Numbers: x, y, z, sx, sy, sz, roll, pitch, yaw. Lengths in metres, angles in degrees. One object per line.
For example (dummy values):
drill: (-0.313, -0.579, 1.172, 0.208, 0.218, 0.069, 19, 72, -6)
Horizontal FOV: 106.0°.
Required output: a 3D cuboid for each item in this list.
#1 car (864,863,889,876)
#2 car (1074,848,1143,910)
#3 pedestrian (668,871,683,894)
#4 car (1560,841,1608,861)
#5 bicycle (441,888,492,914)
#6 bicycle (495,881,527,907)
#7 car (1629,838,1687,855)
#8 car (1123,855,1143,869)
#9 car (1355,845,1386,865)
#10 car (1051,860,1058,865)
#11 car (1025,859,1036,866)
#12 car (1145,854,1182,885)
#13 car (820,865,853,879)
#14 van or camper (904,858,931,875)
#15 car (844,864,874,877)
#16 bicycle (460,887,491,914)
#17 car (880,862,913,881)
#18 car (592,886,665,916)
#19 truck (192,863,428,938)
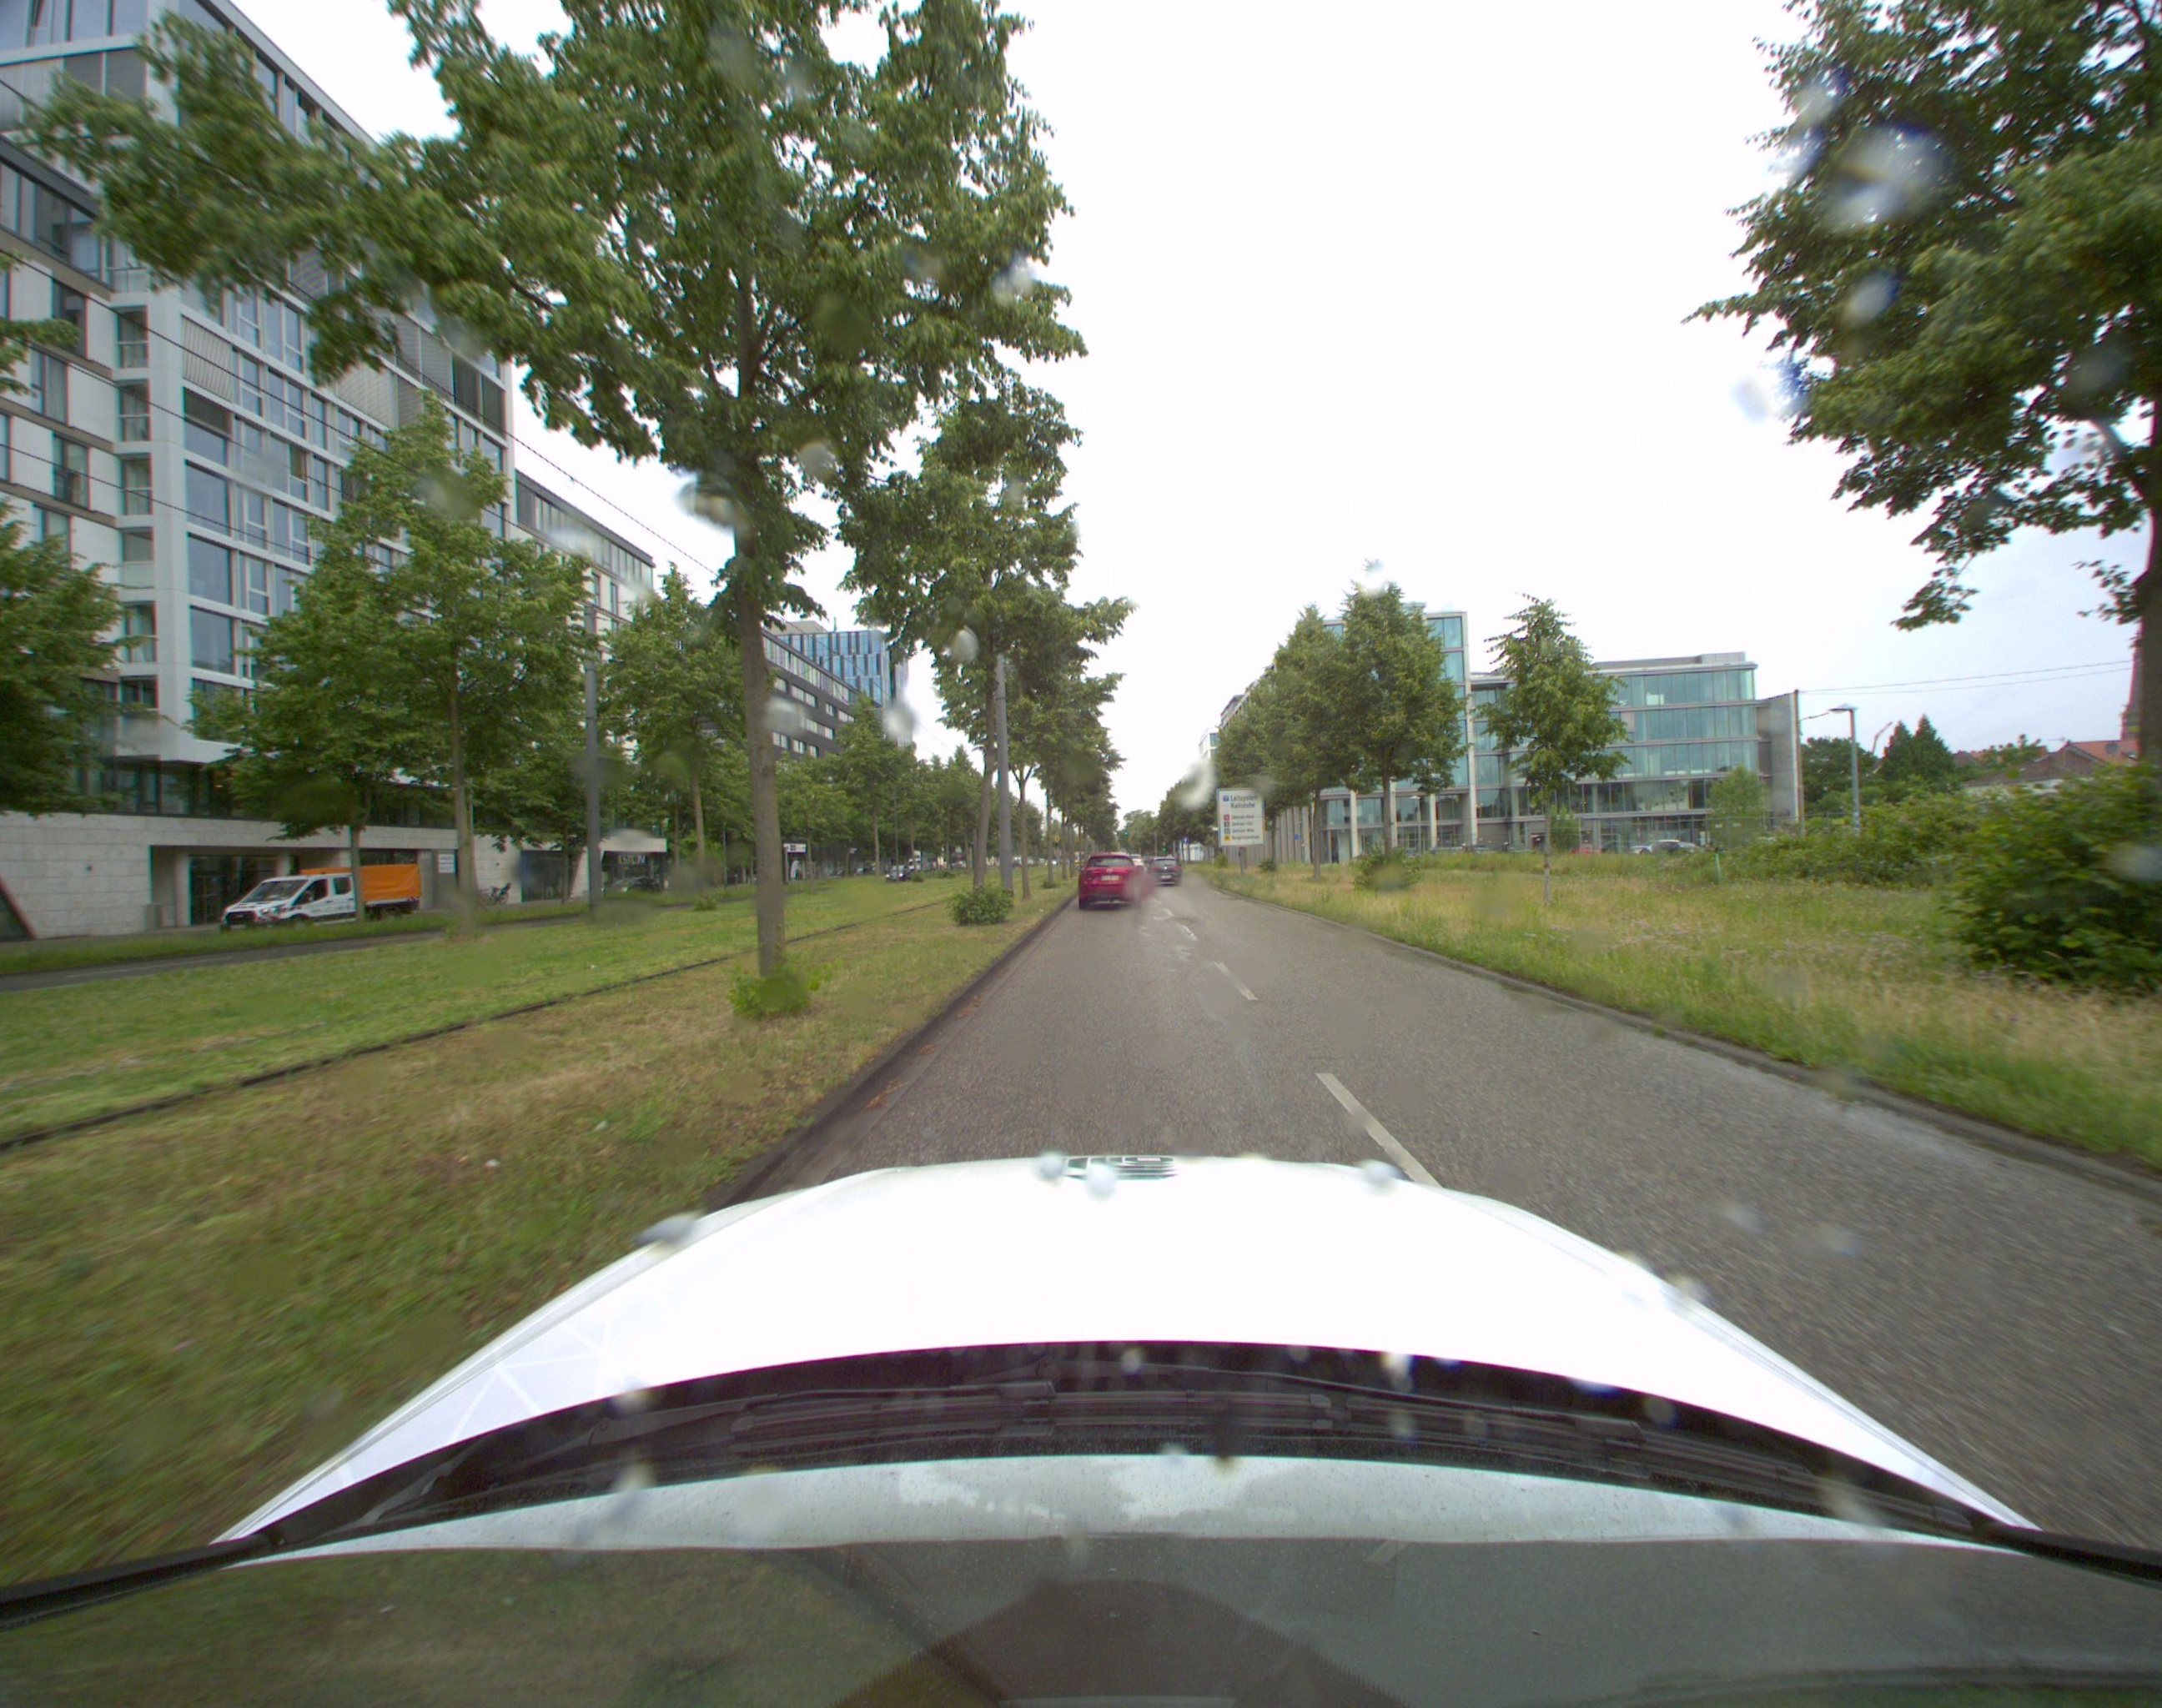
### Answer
car: (-23.954, 1.841, 95.647, 1.695, 1.449, 4.244, -2, 0, 2)
car: (0.843, 0.707, 24.837, 1.891, 1.677, 4.002, -2, 0, 2)
pedestrian: (-34.915, 2.443, 70.136, 0.792, 1.981, 0.856, -2, 0, 0)
car: (41.159, -0.235, 66.760, 1.845, 1.601, 4.009, -2, 0, 8)
bicycle: (-25.182, 1.919, 33.387, 0.596, 0.945, 1.760, -2, 0, 6)
bicycle: (-35.597, 2.513, 50.857, 1.562, 1.538, 0.607, -2, -1, 1)
car: (53.380, -0.717, 75.442, 3.965, 1.438, 1.865, -2, 1, 7)
car: (5.480, 0.792, 86.128, 1.960, 1.437, 4.553, -1, 0, 1)
car: (24.705, 0.059, 69.614, 1.844, 1.581, 4.011, -2, 0, 10)
car: (-8.052, 2.665, 244.844, 1.703, 1.404, 4.002, -2, 0, 2)
car: (-11.287, 1.905, 182.801, 1.855, 1.524, 4.482, -2, 0, 3)
car: (4.303, 0.781, 42.202, 1.734, 1.465, 3.789, -2, 0, 7)
car: (-24.969, 1.811, 83.169, 1.986, 1.378, 4.002, -2, 0, 2)
van or camper: (-23.307, 1.702, 116.144, 2.423, 2.315, 5.854, -2, 0, 2)
car: (-24.406, 1.811, 89.538, 1.986, 1.378, 4.002, -2, 0, 2)
bicycle: (-35.548, 2.728, 47.825, 1.427, 1.482, 0.546, -2, -1, 1)
car: (-16.908, 1.584, 74.936, 1.985, 1.656, 3.702, -2, 0, 3)
car: (-26.074, 2.669, 47.069, 1.848, 1.465, 3.990, -2, 0, 2)
truck: (-27.688, 1.559, 29.722, 2.417, 2.291, 6.312, -2, 0, 2)
